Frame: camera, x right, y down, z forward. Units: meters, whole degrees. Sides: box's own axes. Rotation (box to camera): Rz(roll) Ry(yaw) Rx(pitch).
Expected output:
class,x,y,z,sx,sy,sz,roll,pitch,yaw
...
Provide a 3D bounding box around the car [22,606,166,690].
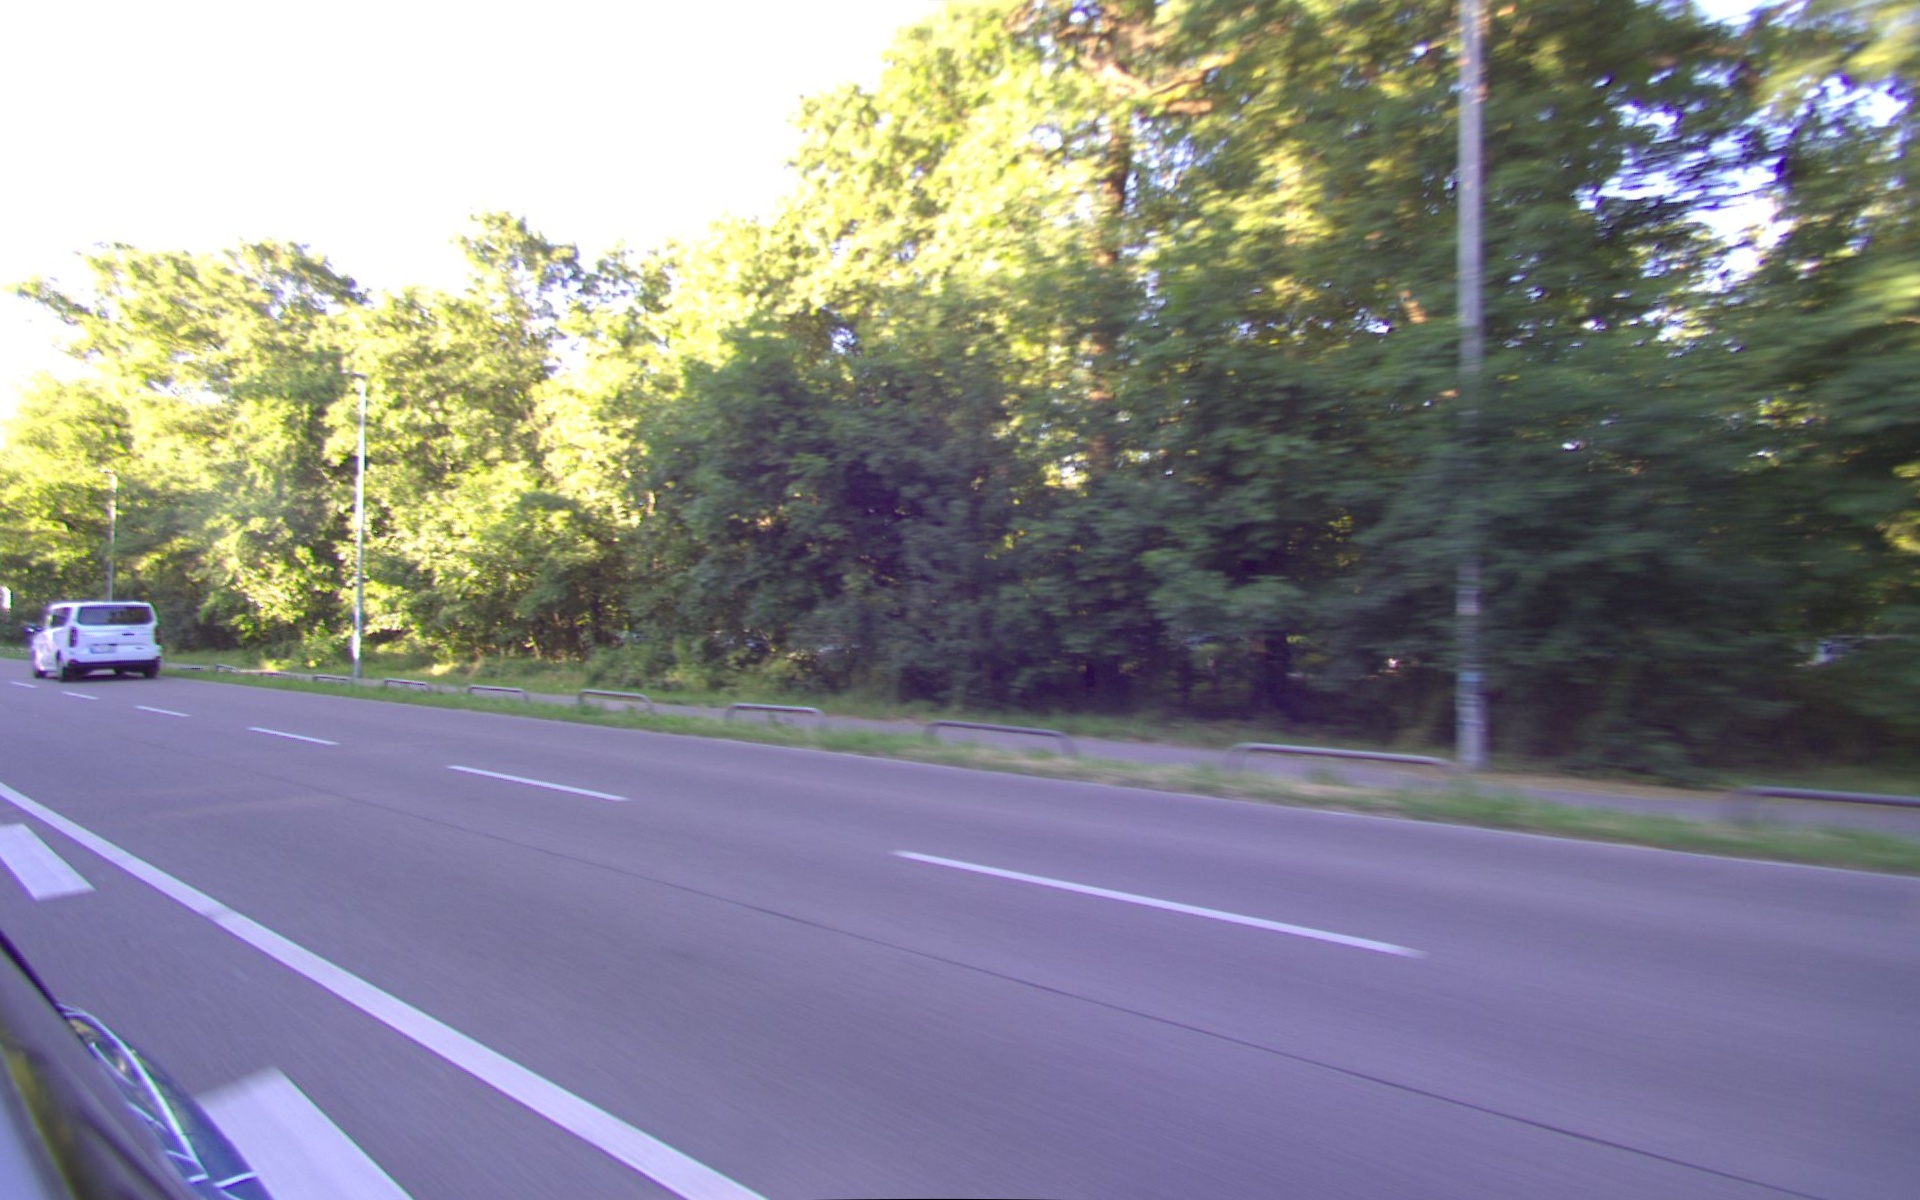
class,x,y,z,sx,sy,sz,roll,pitch,yaw
car,-22.804,1.184,26.576,4.991,2.007,1.974,-1,-1,38
